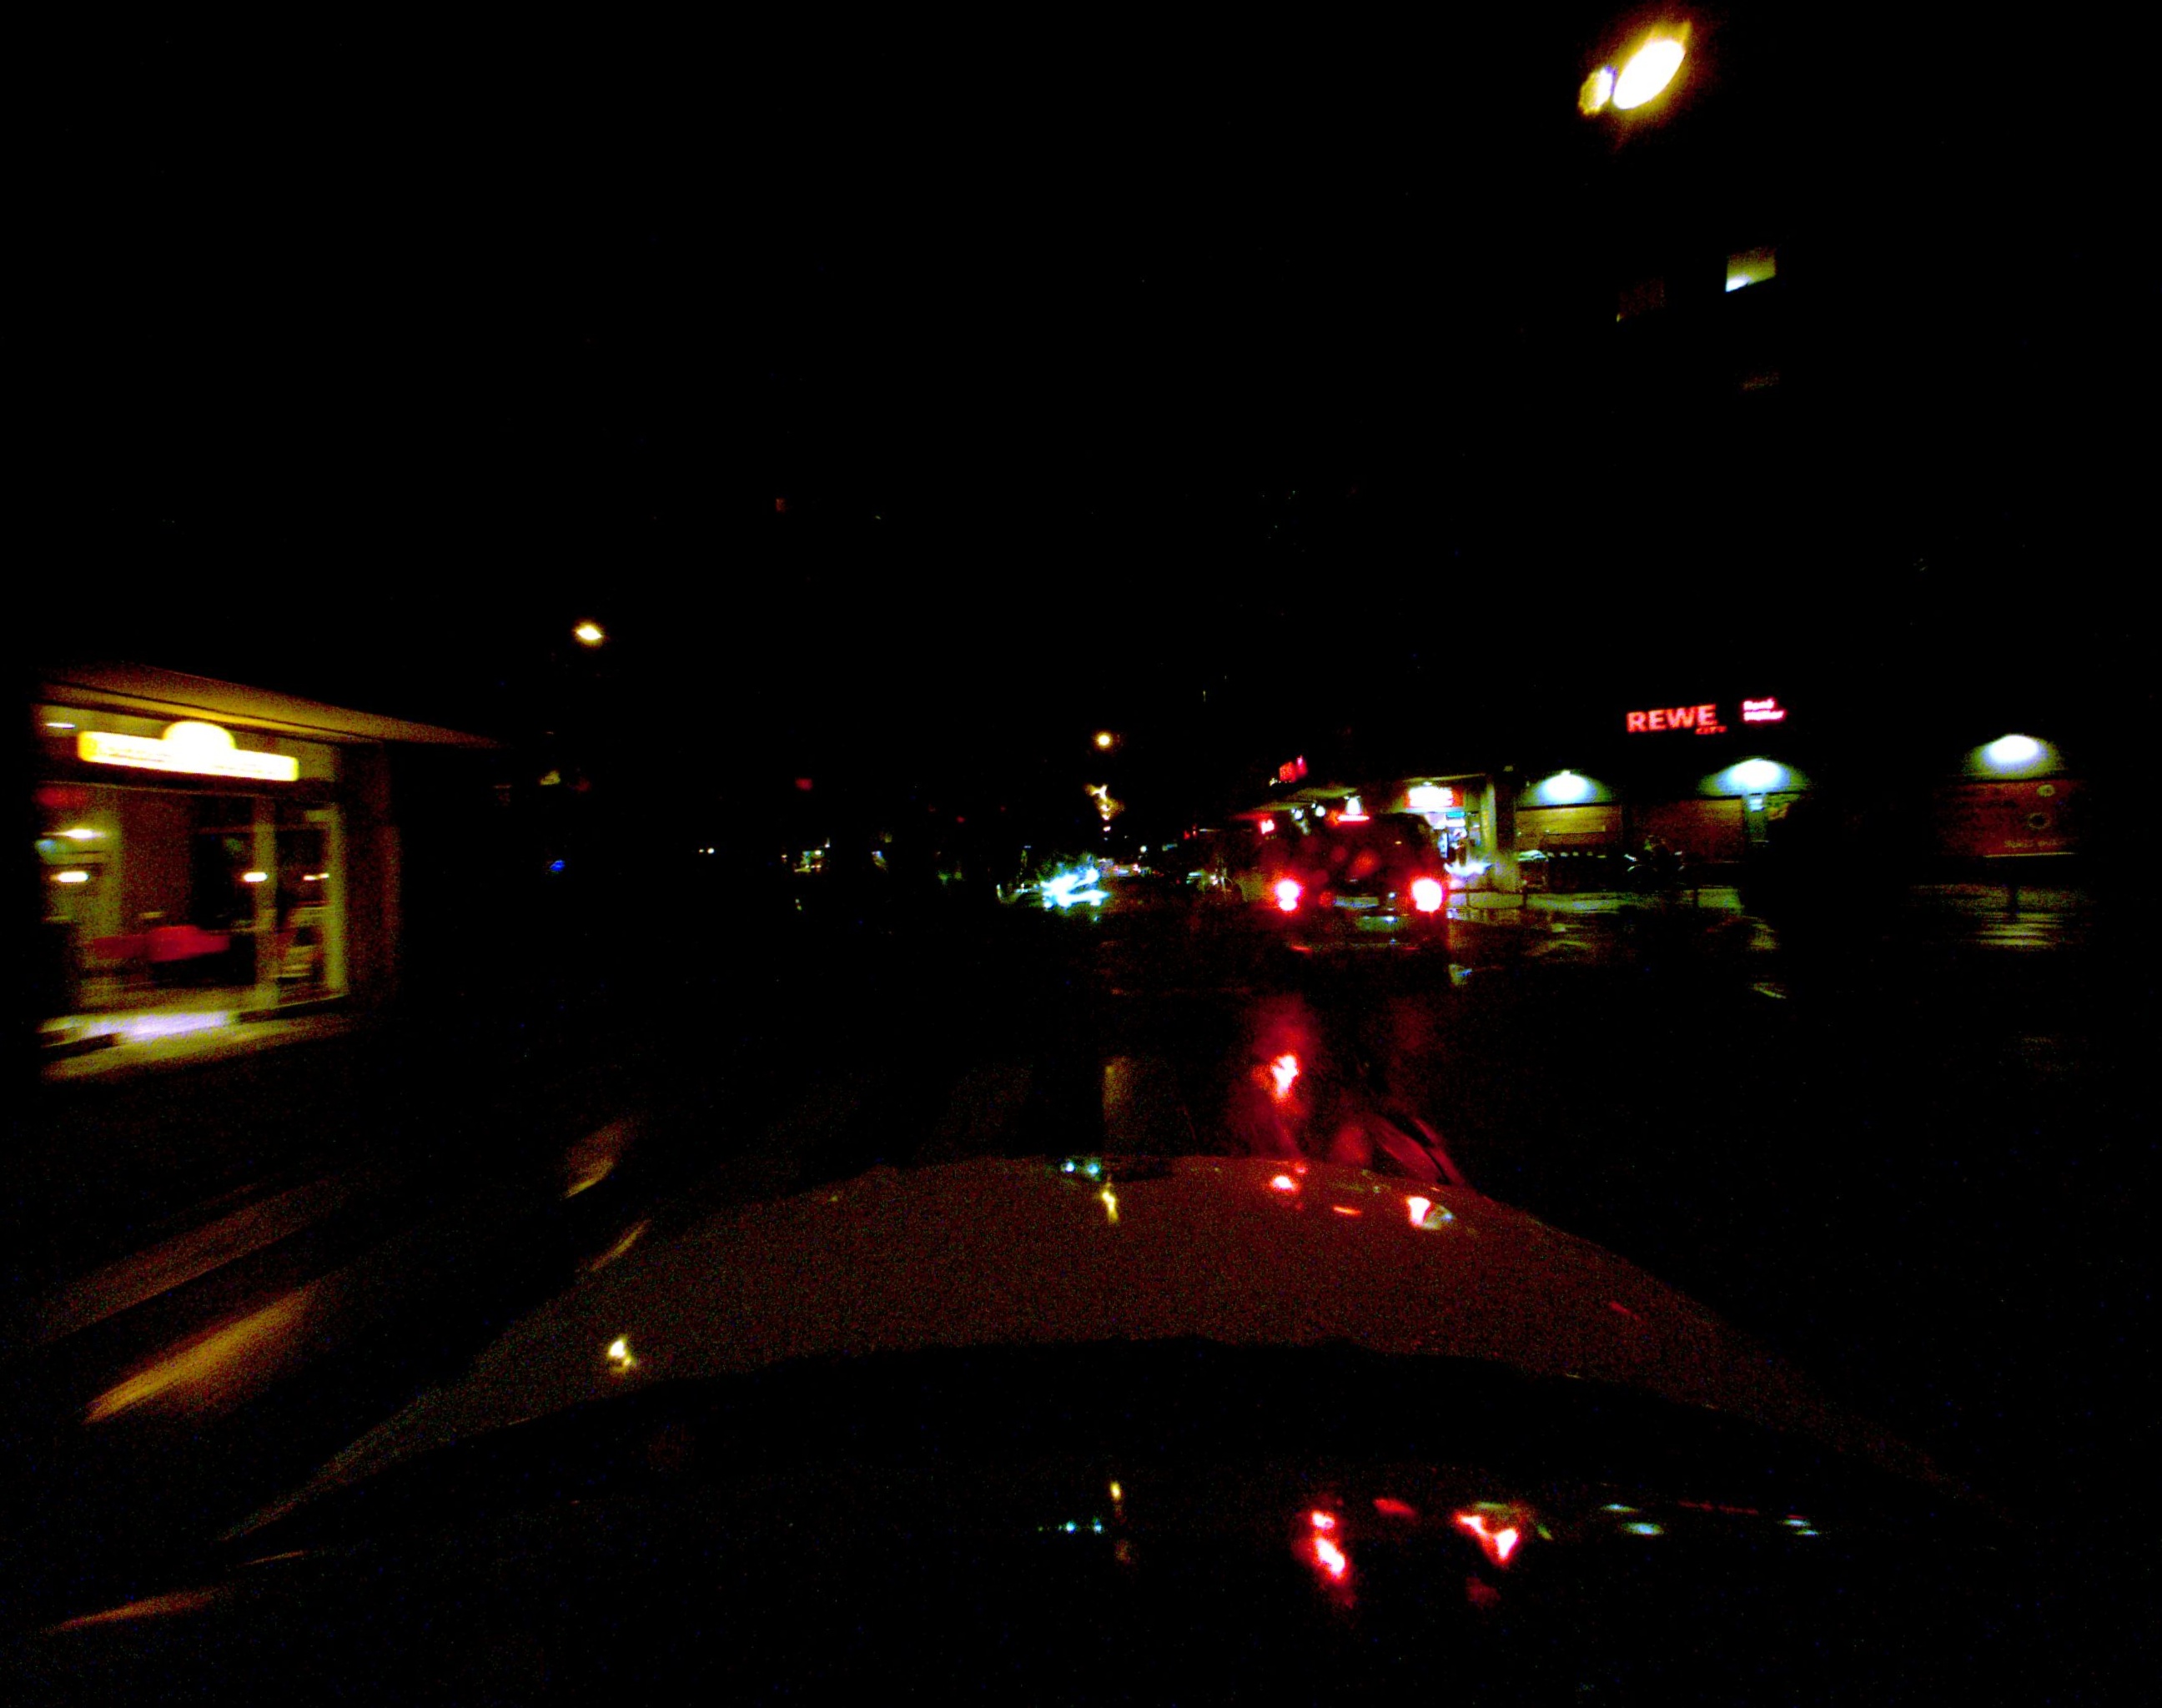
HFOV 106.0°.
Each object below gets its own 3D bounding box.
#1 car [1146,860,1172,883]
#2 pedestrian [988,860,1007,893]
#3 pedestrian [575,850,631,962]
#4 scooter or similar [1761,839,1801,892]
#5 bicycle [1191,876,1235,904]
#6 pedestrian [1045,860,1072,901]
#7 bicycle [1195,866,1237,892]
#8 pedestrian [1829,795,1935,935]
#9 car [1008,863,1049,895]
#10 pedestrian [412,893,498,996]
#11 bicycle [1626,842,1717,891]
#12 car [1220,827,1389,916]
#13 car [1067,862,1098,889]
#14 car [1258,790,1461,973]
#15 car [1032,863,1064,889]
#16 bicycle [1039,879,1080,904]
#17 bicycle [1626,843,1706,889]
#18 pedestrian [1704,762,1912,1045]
[{"bbox_3d":[5.463,1.257,57.392,1.585,1.543,3.421,-1,-2,2],"label":"car"},{"bbox_3d":[-4.567,1.233,44.765,0.799,1.766,1.018,0,-1,8],"label":"pedestrian"},{"bbox_3d":[-8.437,0.897,14.372,0.658,1.909,0.621,-2,-1,-44],"label":"pedestrian"},{"bbox_3d":[17.135,0.264,19.944,0.520,1.229,1.321,-1,0,31],"label":"scooter or similar"},{"bbox_3d":[5.702,1.540,35.205,1.777,1.125,0.435,-3,-1,-1],"label":"bicycle"},{"bbox_3d":[-1.043,1.215,37.445,1.118,1.811,0.715,-2,-1,1],"label":"pedestrian"},{"bbox_3d":[5.972,1.114,36.044,1.756,1.079,0.435,-2,-1,-1],"label":"bicycle"},{"bbox_3d":[11.101,0.153,11.335,0.867,1.833,0.990,-3,-1,38],"label":"pedestrian"},{"bbox_3d":[-2.557,1.191,40.199,1.580,1.463,4.026,1,0,2],"label":"car"},{"bbox_3d":[-12.057,1.720,15.716,0.791,1.858,0.950,-4,-1,14],"label":"pedestrian"},{"bbox_3d":[14.578,0.318,20.150,1.764,1.174,0.386,-2,-1,30],"label":"bicycle"},{"bbox_3d":[5.355,0.398,20.323,2.124,1.922,4.806,-1,-1,-11],"label":"car"},{"bbox_3d":[0.149,1.274,48.800,1.556,1.427,4.072,-3,-1,3],"label":"car"},{"bbox_3d":[3.839,0.339,11.379,2.105,1.991,4.622,-2,-1,19],"label":"car"},{"bbox_3d":[-1.975,1.324,49.371,1.580,1.449,3.505,-1,-1,2],"label":"car"},{"bbox_3d":[-0.992,1.729,37.446,1.789,1.059,0.715,-2,0,1],"label":"bicycle"},{"bbox_3d":[15.117,0.324,21.079,1.626,1.174,0.386,-1,-3,30],"label":"bicycle"},{"bbox_3d":[4.852,0.317,5.491,0.820,1.771,0.602,-1,-1,14],"label":"pedestrian"}]
